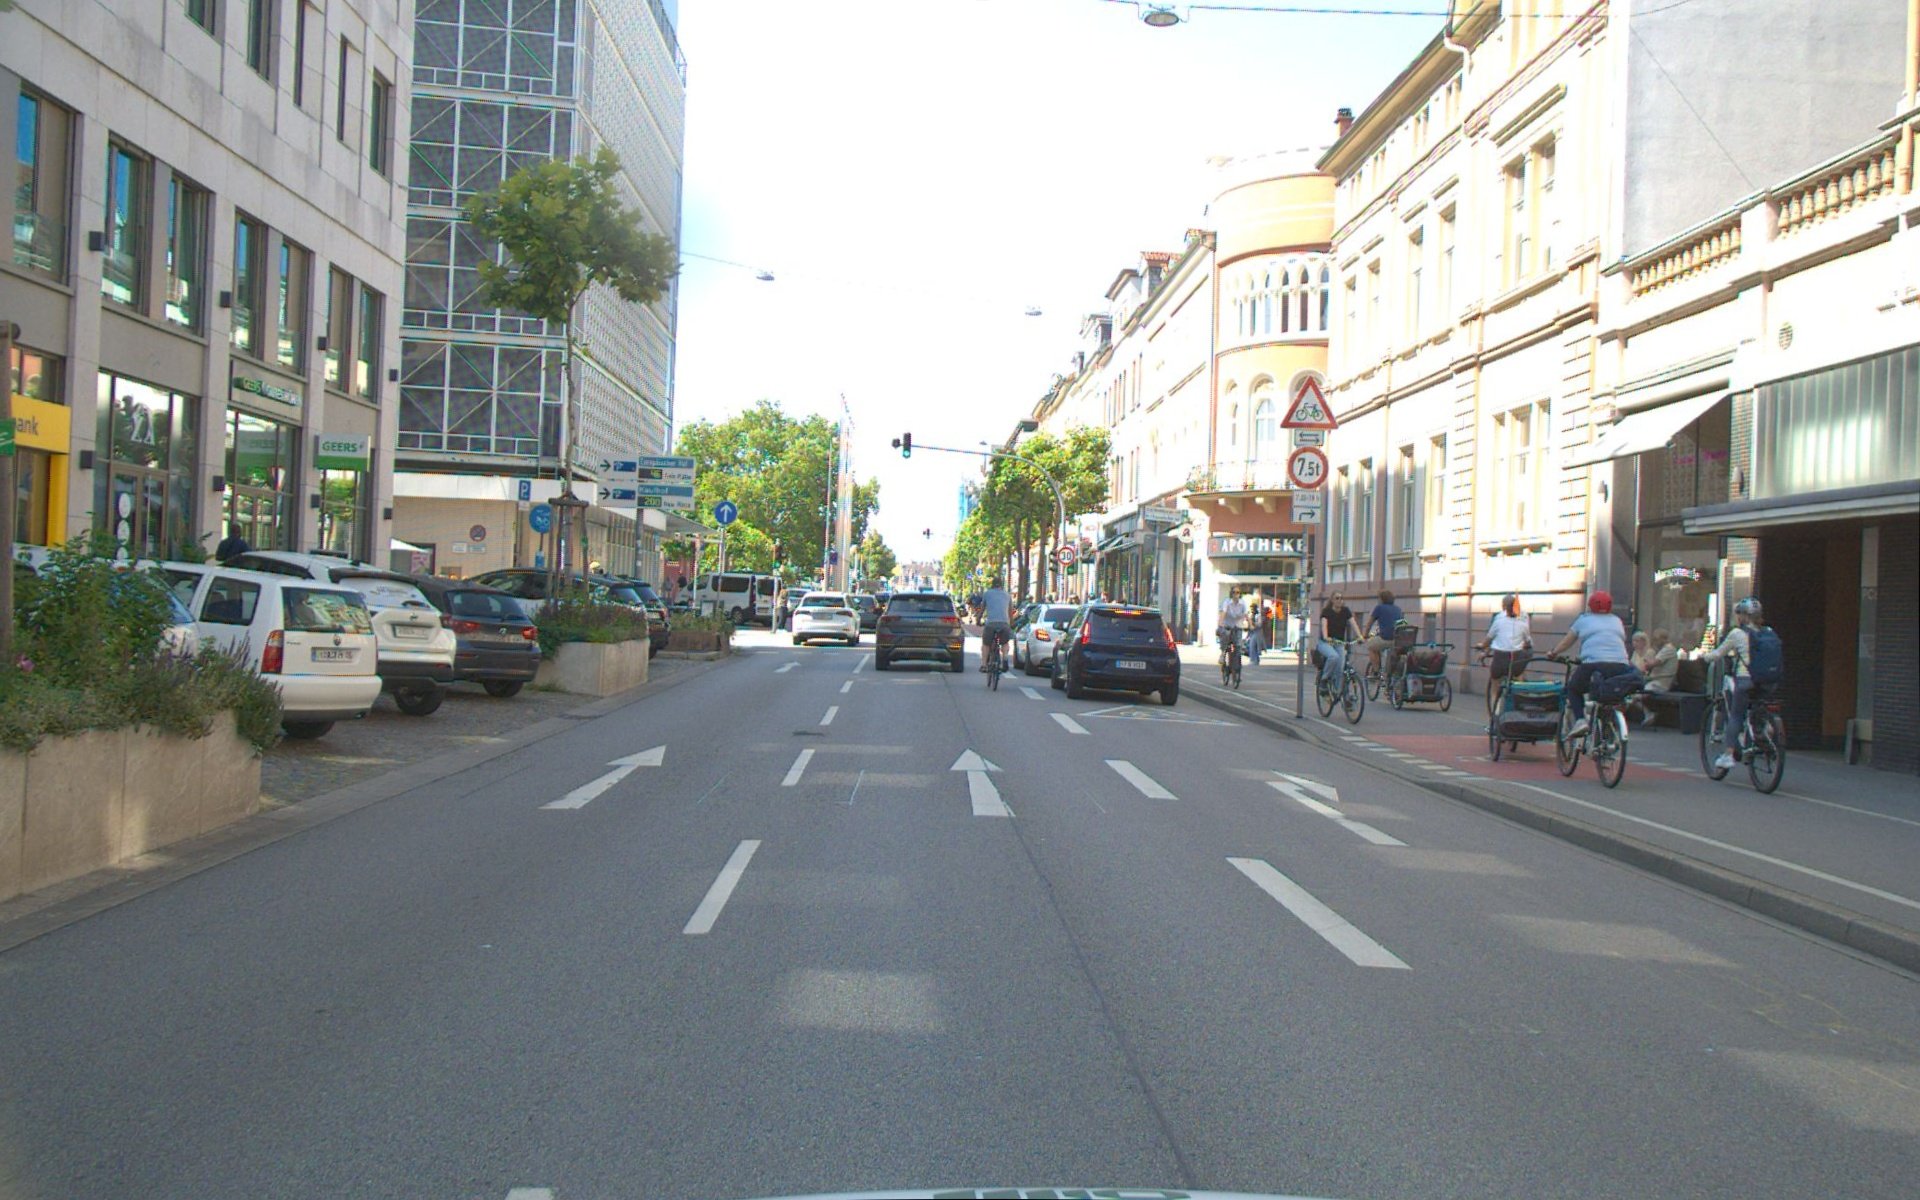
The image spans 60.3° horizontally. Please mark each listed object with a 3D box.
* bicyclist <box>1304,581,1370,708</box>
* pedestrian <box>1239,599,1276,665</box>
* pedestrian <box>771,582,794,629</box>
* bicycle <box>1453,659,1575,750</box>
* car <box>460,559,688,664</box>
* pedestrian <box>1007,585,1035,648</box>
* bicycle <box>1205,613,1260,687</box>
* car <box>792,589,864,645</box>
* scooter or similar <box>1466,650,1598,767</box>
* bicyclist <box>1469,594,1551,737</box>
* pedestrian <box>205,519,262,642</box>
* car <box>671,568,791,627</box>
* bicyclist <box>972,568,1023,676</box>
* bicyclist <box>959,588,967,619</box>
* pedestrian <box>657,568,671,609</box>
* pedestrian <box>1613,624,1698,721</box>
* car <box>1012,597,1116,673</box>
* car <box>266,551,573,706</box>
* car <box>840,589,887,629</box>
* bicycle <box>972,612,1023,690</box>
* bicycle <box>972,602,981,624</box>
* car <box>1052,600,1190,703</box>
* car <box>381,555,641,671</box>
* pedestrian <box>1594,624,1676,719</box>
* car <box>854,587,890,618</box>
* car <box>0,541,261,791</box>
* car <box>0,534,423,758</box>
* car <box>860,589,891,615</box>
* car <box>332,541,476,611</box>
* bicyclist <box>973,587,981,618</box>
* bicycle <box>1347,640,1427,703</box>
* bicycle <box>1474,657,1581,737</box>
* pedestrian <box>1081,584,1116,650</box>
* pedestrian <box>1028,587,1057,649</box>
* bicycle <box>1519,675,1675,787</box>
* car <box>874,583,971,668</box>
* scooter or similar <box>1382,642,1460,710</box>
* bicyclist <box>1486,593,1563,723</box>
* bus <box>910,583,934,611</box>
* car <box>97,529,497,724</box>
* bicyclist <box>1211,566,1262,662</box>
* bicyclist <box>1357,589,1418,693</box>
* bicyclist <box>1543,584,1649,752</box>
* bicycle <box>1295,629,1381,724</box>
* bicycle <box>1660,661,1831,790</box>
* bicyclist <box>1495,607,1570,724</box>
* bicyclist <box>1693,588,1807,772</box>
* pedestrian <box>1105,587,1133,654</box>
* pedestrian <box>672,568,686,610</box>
[{"bbox_3d":[5.210,0.625,22.907,0.680,1.703,0.835,2,-3,-1],"label":"bicyclist"},{"bbox_3d":[7.943,0.851,44.225,0.776,1.750,0.728,1,0,-7],"label":"pedestrian"},{"bbox_3d":[-6.342,0.206,59.060,0.606,1.643,0.545,3,-2,-32],"label":"pedestrian"},{"bbox_3d":[6.443,1.190,19.369,0.633,0.895,2.389,0,0,0],"label":"bicycle"},{"bbox_3d":[-7.379,0.216,31.915,3.910,1.571,1.716,6,0,-4],"label":"car"},{"bbox_3d":[1.784,0.481,48.650,0.711,1.841,0.654,1,0,9],"label":"pedestrian"},{"bbox_3d":[4.995,0.900,30.420,0.544,1.230,2.243,3,1,-2],"label":"bicycle"},{"bbox_3d":[-3.679,0.518,46.495,1.825,1.466,3.997,2,-2,-2],"label":"car"},{"bbox_3d":[6.092,1.131,17.717,0.853,1.141,1.621,0,0,0],"label":"scooter or similar"},{"bbox_3d":[6.455,0.751,19.445,0.619,1.623,0.920,2,-1,0],"label":"bicyclist"},{"bbox_3d":[-12.285,-0.328,27.987,0.611,2.049,0.700,1,0,-1],"label":"pedestrian"},{"bbox_3d":[-9.069,-0.117,65.307,4.634,2.038,1.932,3,-2,38],"label":"car"},{"bbox_3d":[0.604,0.345,27.100,0.680,1.702,0.915,4,1,-1],"label":"bicyclist"},{"bbox_3d":[0.170,0.202,90.568,0.411,1.658,0.669,2,0,0],"label":"bicyclist"},{"bbox_3d":[-14.859,-0.578,83.034,0.612,2.049,0.571,1,0,-8],"label":"pedestrian"},{"bbox_3d":[9.384,0.972,22.346,0.916,1.291,0.568,-1,0,4],"label":"pedestrian"},{"bbox_3d":[2.067,0.683,33.971,1.785,1.409,3.999,2,0,-1],"label":"car"},{"bbox_3d":[-7.044,0.347,21.442,3.922,1.484,1.664,7,0,35],"label":"car"},{"bbox_3d":[-3.680,0.329,63.521,1.708,1.466,3.998,2,0,-2],"label":"car"},{"bbox_3d":[0.601,0.818,27.229,0.651,1.140,2.243,4,1,-2],"label":"bicycle"},{"bbox_3d":[0.885,0.678,88.627,0.411,1.155,1.910,2,0,0],"label":"bicycle"},{"bbox_3d":[2.552,0.797,26.906,1.785,1.434,3.186,4,0,-1],"label":"car"},{"bbox_3d":[-7.655,0.217,28.473,3.910,1.526,1.716,6,0,-4],"label":"car"},{"bbox_3d":[9.364,0.988,22.972,0.916,1.291,0.568,-1,0,4],"label":"pedestrian"},{"bbox_3d":[-4.379,0.102,82.635,1.708,1.466,3.998,2,0,-2],"label":"car"},{"bbox_3d":[-7.350,0.308,11.764,3.912,1.526,1.715,6,0,-6],"label":"car"},{"bbox_3d":[-7.043,0.340,14.641,3.905,1.516,1.784,6,0,15],"label":"car"},{"bbox_3d":[-4.936,0.090,96.933,1.708,1.466,3.998,2,0,-2],"label":"car"},{"bbox_3d":[-17.456,-0.747,52.111,3.910,2.049,1.932,1,0,-6],"label":"car"},{"bbox_3d":[0.914,0.115,88.701,0.411,1.658,0.709,2,0,0],"label":"bicyclist"},{"bbox_3d":[6.836,1.131,26.575,0.725,0.895,2.138,2,0,0],"label":"bicycle"},{"bbox_3d":[7.235,1.215,21.179,0.633,0.895,2.103,2,0,0],"label":"bicycle"},{"bbox_3d":[3.891,0.482,46.483,0.647,1.841,0.720,1,0,-38],"label":"pedestrian"},{"bbox_3d":[2.484,0.528,49.570,0.711,1.841,0.654,1,0,15],"label":"pedestrian"},{"bbox_3d":[5.918,1.191,15.498,0.633,0.895,2.103,-1,0,0],"label":"bicycle"},{"bbox_3d":[-0.779,0.520,33.473,1.796,1.554,3.998,2,-1,-2],"label":"car"},{"bbox_3d":[6.934,1.136,24.939,0.835,0.935,1.164,2,0,0],"label":"scooter or similar"},{"bbox_3d":[7.289,0.733,21.385,0.644,1.623,0.920,2,0,0],"label":"bicyclist"},{"bbox_3d":[-5.288,-0.424,229.854,2.716,3.668,8.964,2,0,-5],"label":"bus"},{"bbox_3d":[-7.278,0.273,18.162,3.909,1.595,1.699,7,0,23],"label":"car"},{"bbox_3d":[5.090,0.246,30.515,0.680,1.702,0.835,4,0,-1],"label":"bicyclist"},{"bbox_3d":[6.862,0.643,26.592,0.695,1.623,0.963,2,0,0],"label":"bicyclist"},{"bbox_3d":[5.924,0.613,15.439,0.612,1.502,0.889,2,0,0],"label":"bicyclist"},{"bbox_3d":[5.170,1.026,22.759,0.544,1.140,2.243,4,1,-2],"label":"bicycle"},{"bbox_3d":[7.204,1.117,15.285,0.552,1.013,2.103,2,0,0],"label":"bicycle"},{"bbox_3d":[6.452,0.730,18.664,0.610,1.270,0.607,2,0,0],"label":"bicyclist"},{"bbox_3d":[7.223,0.710,15.152,0.570,1.623,0.920,2,0,0],"label":"bicyclist"},{"bbox_3d":[4.702,0.598,49.018,0.694,1.932,1.152,2,0,1],"label":"pedestrian"},{"bbox_3d":[-14.120,-0.552,83.170,0.612,2.049,0.571,1,0,-8],"label":"pedestrian"}]
